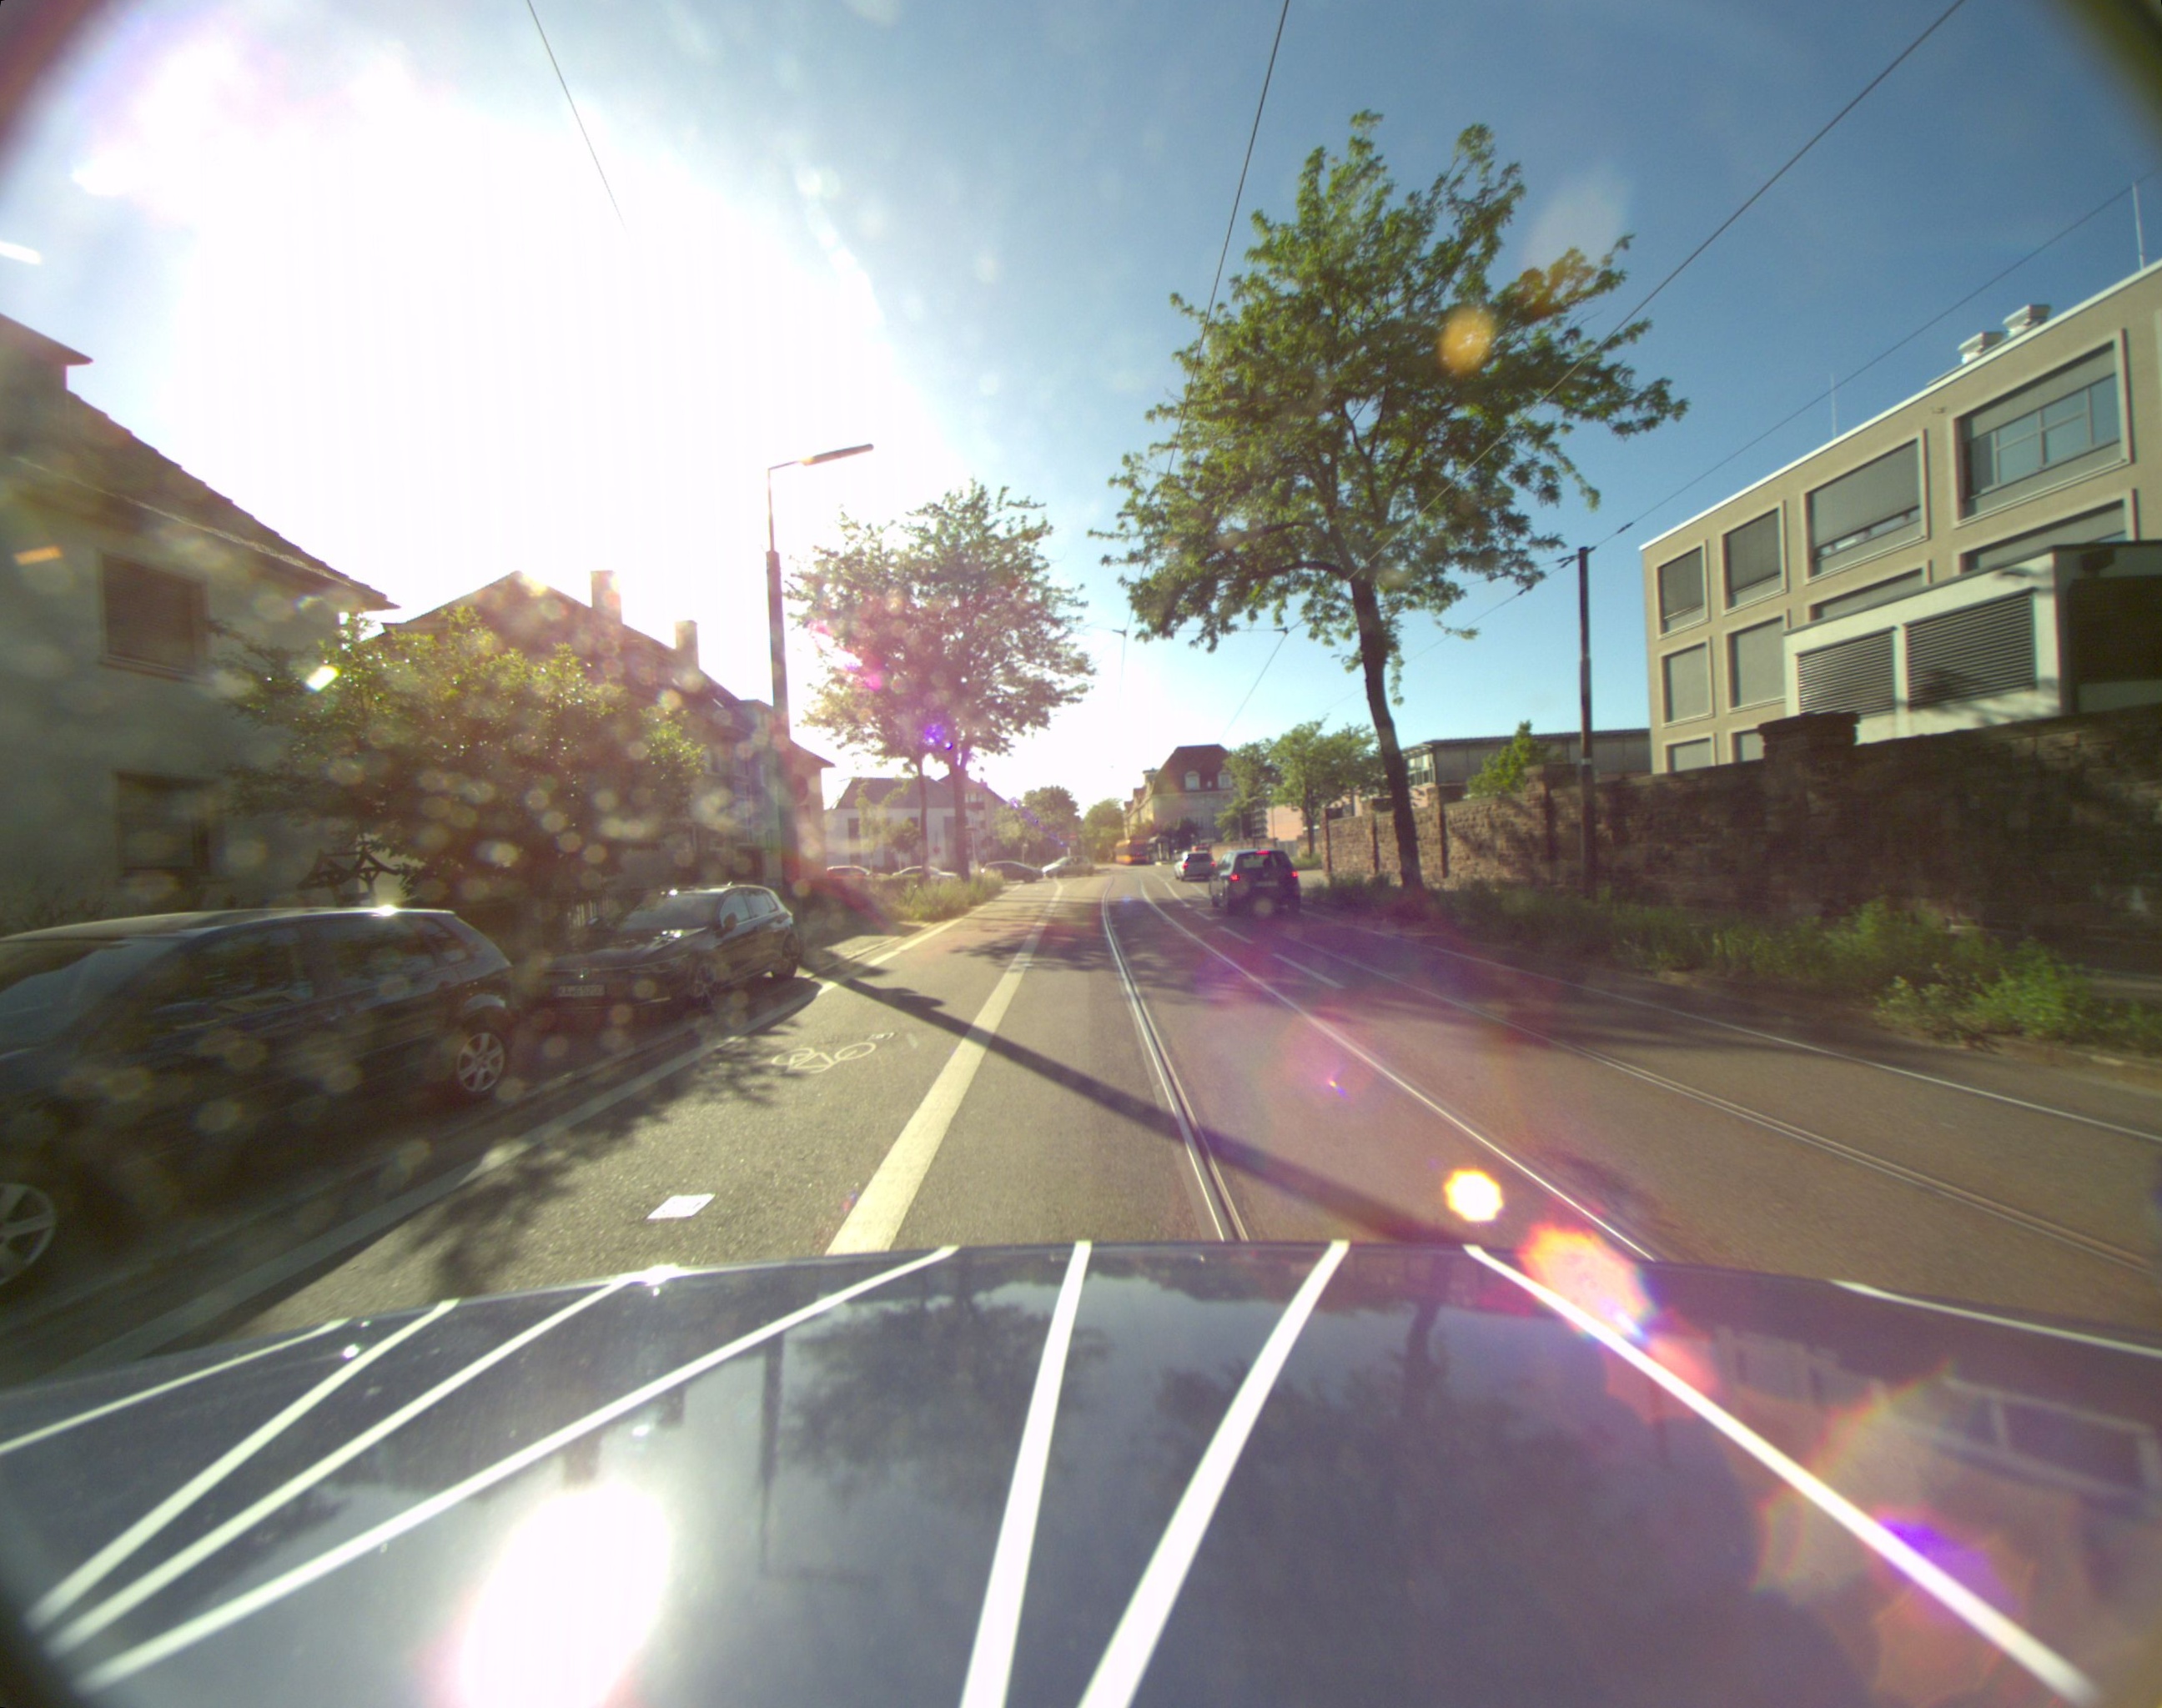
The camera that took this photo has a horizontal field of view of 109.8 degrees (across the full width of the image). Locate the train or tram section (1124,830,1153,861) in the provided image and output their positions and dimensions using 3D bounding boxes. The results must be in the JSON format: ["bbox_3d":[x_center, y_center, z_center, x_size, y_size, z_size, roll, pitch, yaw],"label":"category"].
[{"bbox_3d":[6.835,-0.957,90.970,2.811,3.439,6.668,-4,0,0],"label":"train or tram section"}]

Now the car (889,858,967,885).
[{"bbox_3d":[-10.175,1.184,50.752,4.611,1.458,1.983,-3,2,12],"label":"car"}]

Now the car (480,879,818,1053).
[{"bbox_3d":[-5.061,1.190,9.779,1.753,1.486,4.443,-3,0,0],"label":"car"}]

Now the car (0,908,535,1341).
[{"bbox_3d":[-5.162,1.208,3.901,1.753,1.486,3.996,-3,0,0],"label":"car"}]

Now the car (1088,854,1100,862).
[{"bbox_3d":[2.529,0.703,147.620,1.743,1.450,3.691,-4,0,-8],"label":"car"}]

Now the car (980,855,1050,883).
[{"bbox_3d":[-4.234,0.931,49.133,3.994,1.499,1.983,-4,1,10],"label":"car"}]

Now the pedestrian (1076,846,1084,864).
[{"bbox_3d":[-0.109,0.121,78.593,0.712,1.843,0.729,-5,1,2],"label":"pedestrian"}]

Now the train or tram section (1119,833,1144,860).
[{"bbox_3d":[6.901,-0.961,104.362,2.811,3.439,6.668,-4,0,0],"label":"train or tram section"}]

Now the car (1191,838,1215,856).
[{"bbox_3d":[13.985,-0.785,87.493,1.998,1.954,4.934,-3,0,1],"label":"car"}]

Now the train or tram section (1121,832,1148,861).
[{"bbox_3d":[6.869,-0.943,97.686,2.811,3.439,6.668,-4,0,0],"label":"train or tram section"}]

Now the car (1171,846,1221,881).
[{"bbox_3d":[5.678,0.404,38.029,1.998,1.515,4.580,-4,0,3],"label":"car"}]

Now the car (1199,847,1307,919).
[{"bbox_3d":[4.217,0.647,19.292,1.753,1.515,4.035,-4,1,0],"label":"car"}]

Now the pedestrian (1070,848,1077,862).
[{"bbox_3d":[-0.901,0.114,89.777,0.673,1.694,0.690,-5,1,-1],"label":"pedestrian"}]

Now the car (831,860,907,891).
[{"bbox_3d":[-13.519,1.348,48.617,4.173,1.632,1.981,-4,1,-1],"label":"car"}]

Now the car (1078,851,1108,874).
[{"bbox_3d":[0.910,0.600,54.038,1.741,1.450,3.695,-3,0,6],"label":"car"}]
